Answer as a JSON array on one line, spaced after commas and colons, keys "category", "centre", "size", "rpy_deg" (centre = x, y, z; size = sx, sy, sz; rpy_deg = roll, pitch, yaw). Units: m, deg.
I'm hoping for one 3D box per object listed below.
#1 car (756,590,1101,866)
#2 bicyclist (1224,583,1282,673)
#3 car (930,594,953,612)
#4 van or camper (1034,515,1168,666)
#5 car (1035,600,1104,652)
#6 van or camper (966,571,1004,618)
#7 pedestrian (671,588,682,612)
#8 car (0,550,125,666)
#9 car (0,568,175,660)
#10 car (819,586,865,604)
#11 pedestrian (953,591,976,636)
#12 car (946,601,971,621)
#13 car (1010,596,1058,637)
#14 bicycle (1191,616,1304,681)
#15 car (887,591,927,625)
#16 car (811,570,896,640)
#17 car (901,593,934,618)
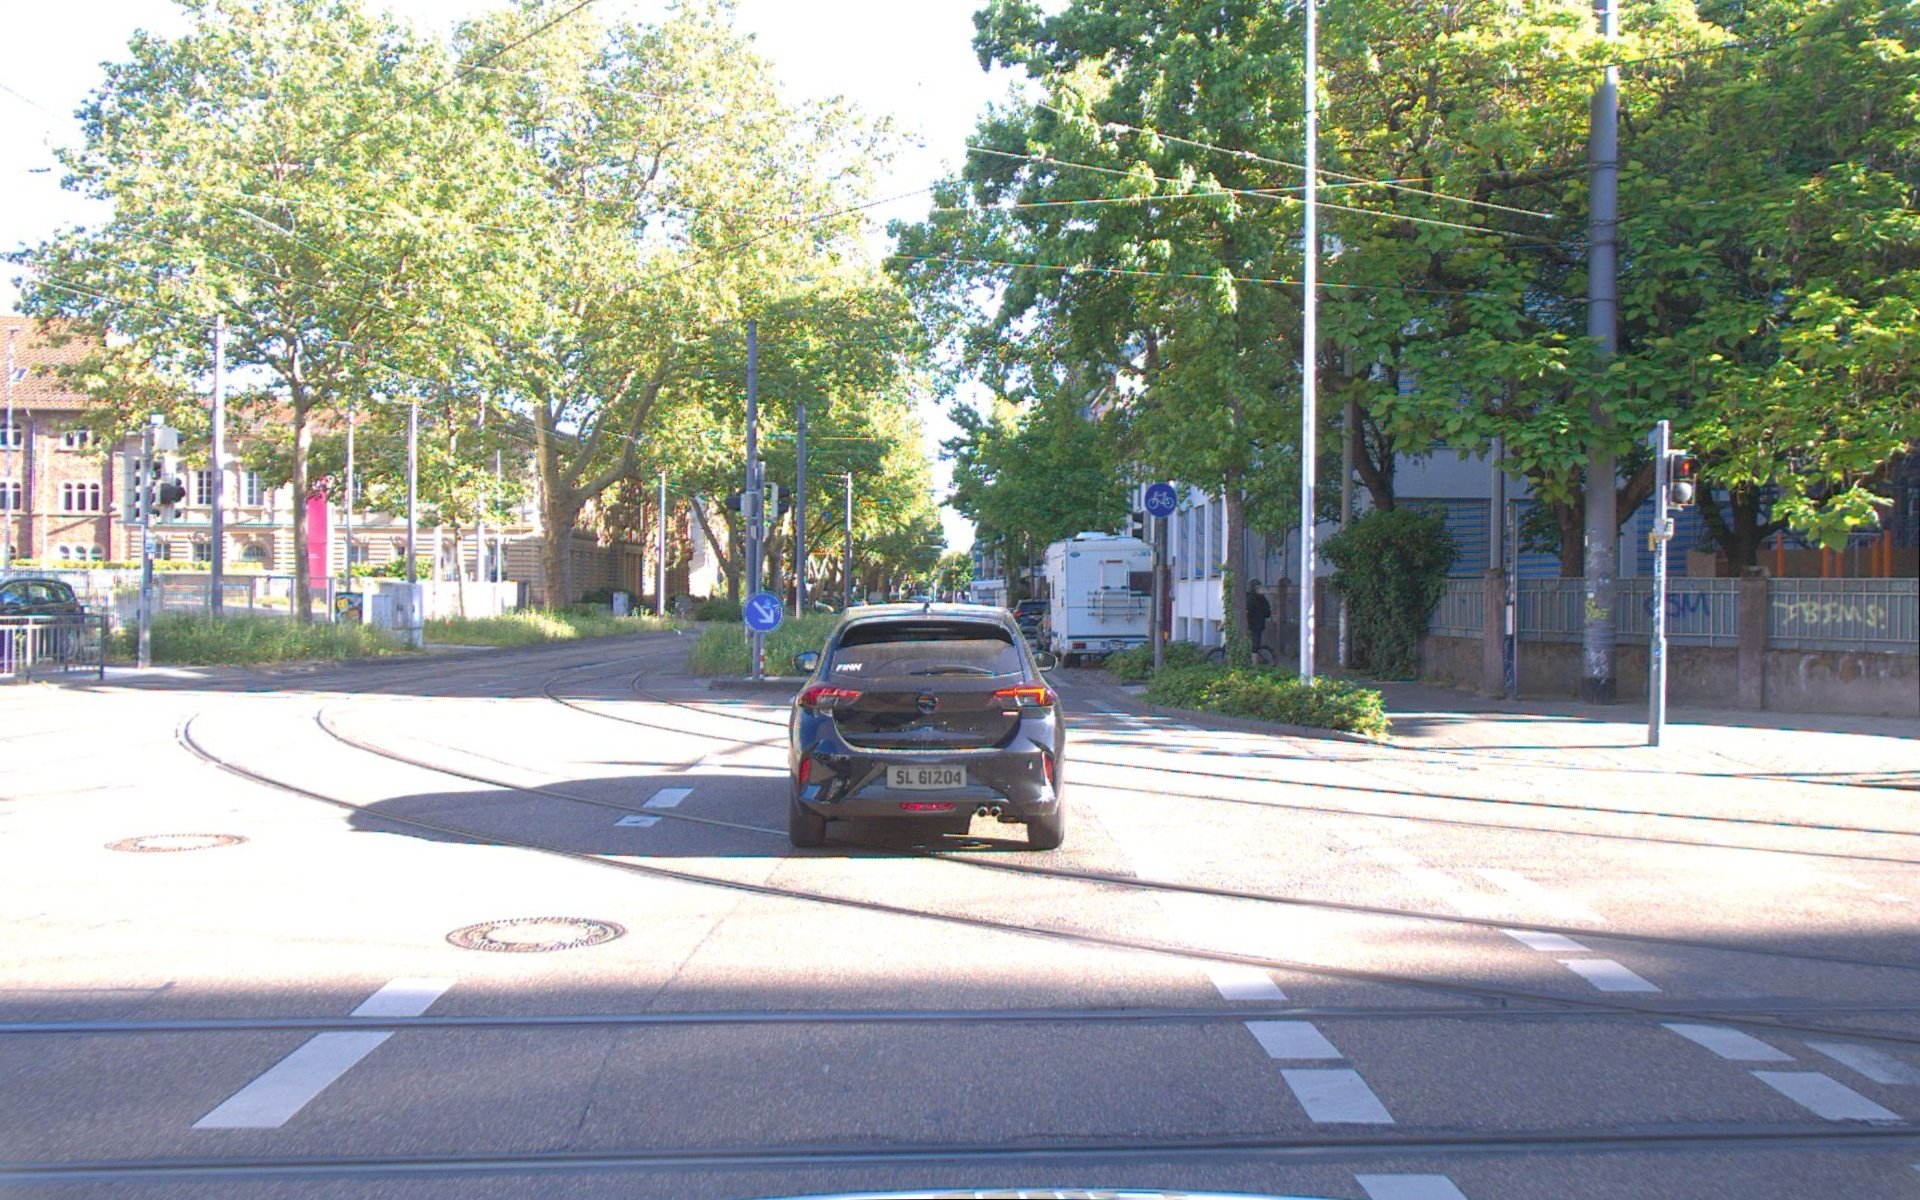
[{"category": "car", "centre": [-0.140, 0.688, 11.145], "size": [1.866, 1.450, 4.216], "rpy_deg": [1, 1, 1]}, {"category": "bicyclist", "centre": [5.085, 0.483, 28.744], "size": [0.691, 1.536, 0.745], "rpy_deg": [0, 0, -25]}, {"category": "car", "centre": [-1.622, 0.259, 144.644], "size": [1.865, 1.450, 4.216], "rpy_deg": [1, 1, 1]}, {"category": "van or camper", "centre": [3.238, -0.250, 39.672], "size": [2.327, 3.179, 7.549], "rpy_deg": [-2, 1, -1]}, {"category": "car", "centre": [3.245, 0.740, 49.599], "size": [1.652, 1.445, 4.047], "rpy_deg": [0, 1, -2]}, {"category": "van or camper", "centre": [1.692, -0.387, 112.979], "size": [2.435, 3.045, 5.435], "rpy_deg": [2, 0, 1]}, {"category": "pedestrian", "centre": [-20.590, -0.002, 120.130], "size": [0.605, 1.763, 0.596], "rpy_deg": [3, 0, -1]}, {"category": "car", "centre": [-17.174, 0.106, 29.488], "size": [1.951, 1.981, 4.427], "rpy_deg": [1, 1, 6]}, {"category": "car", "centre": [-17.343, 0.219, 31.932], "size": [1.952, 1.644, 4.757], "rpy_deg": [0, 1, 3]}, {"category": "car", "centre": [-14.866, -0.668, 208.931], "size": [5.571, 2.236, 2.289], "rpy_deg": [0, 0, 0]}, {"category": "pedestrian", "centre": [0.220, 0.625, 78.124], "size": [1.015, 2.059, 1.212], "rpy_deg": [1, 0, -1]}, {"category": "car", "centre": [-0.108, 0.860, 127.470], "size": [1.865, 1.450, 4.216], "rpy_deg": [1, 1, 1]}, {"category": "car", "centre": [2.927, 0.640, 66.432], "size": [1.753, 1.536, 3.874], "rpy_deg": [-1, 1, 0]}, {"category": "bicycle", "centre": [4.996, 0.826, 28.699], "size": [1.920, 1.089, 0.636], "rpy_deg": [1, 0, -25]}, {"category": "car", "centre": [-2.561, 0.359, 80.314], "size": [1.753, 1.536, 3.874], "rpy_deg": [-1, 1, 0]}, {"category": "car", "centre": [-2.744, 0.101, 43.653], "size": [1.953, 1.655, 4.469], "rpy_deg": [3, 0, -1]}, {"category": "car", "centre": [-2.655, 0.324, 104.280], "size": [1.865, 1.450, 4.216], "rpy_deg": [1, 1, 1]}]
